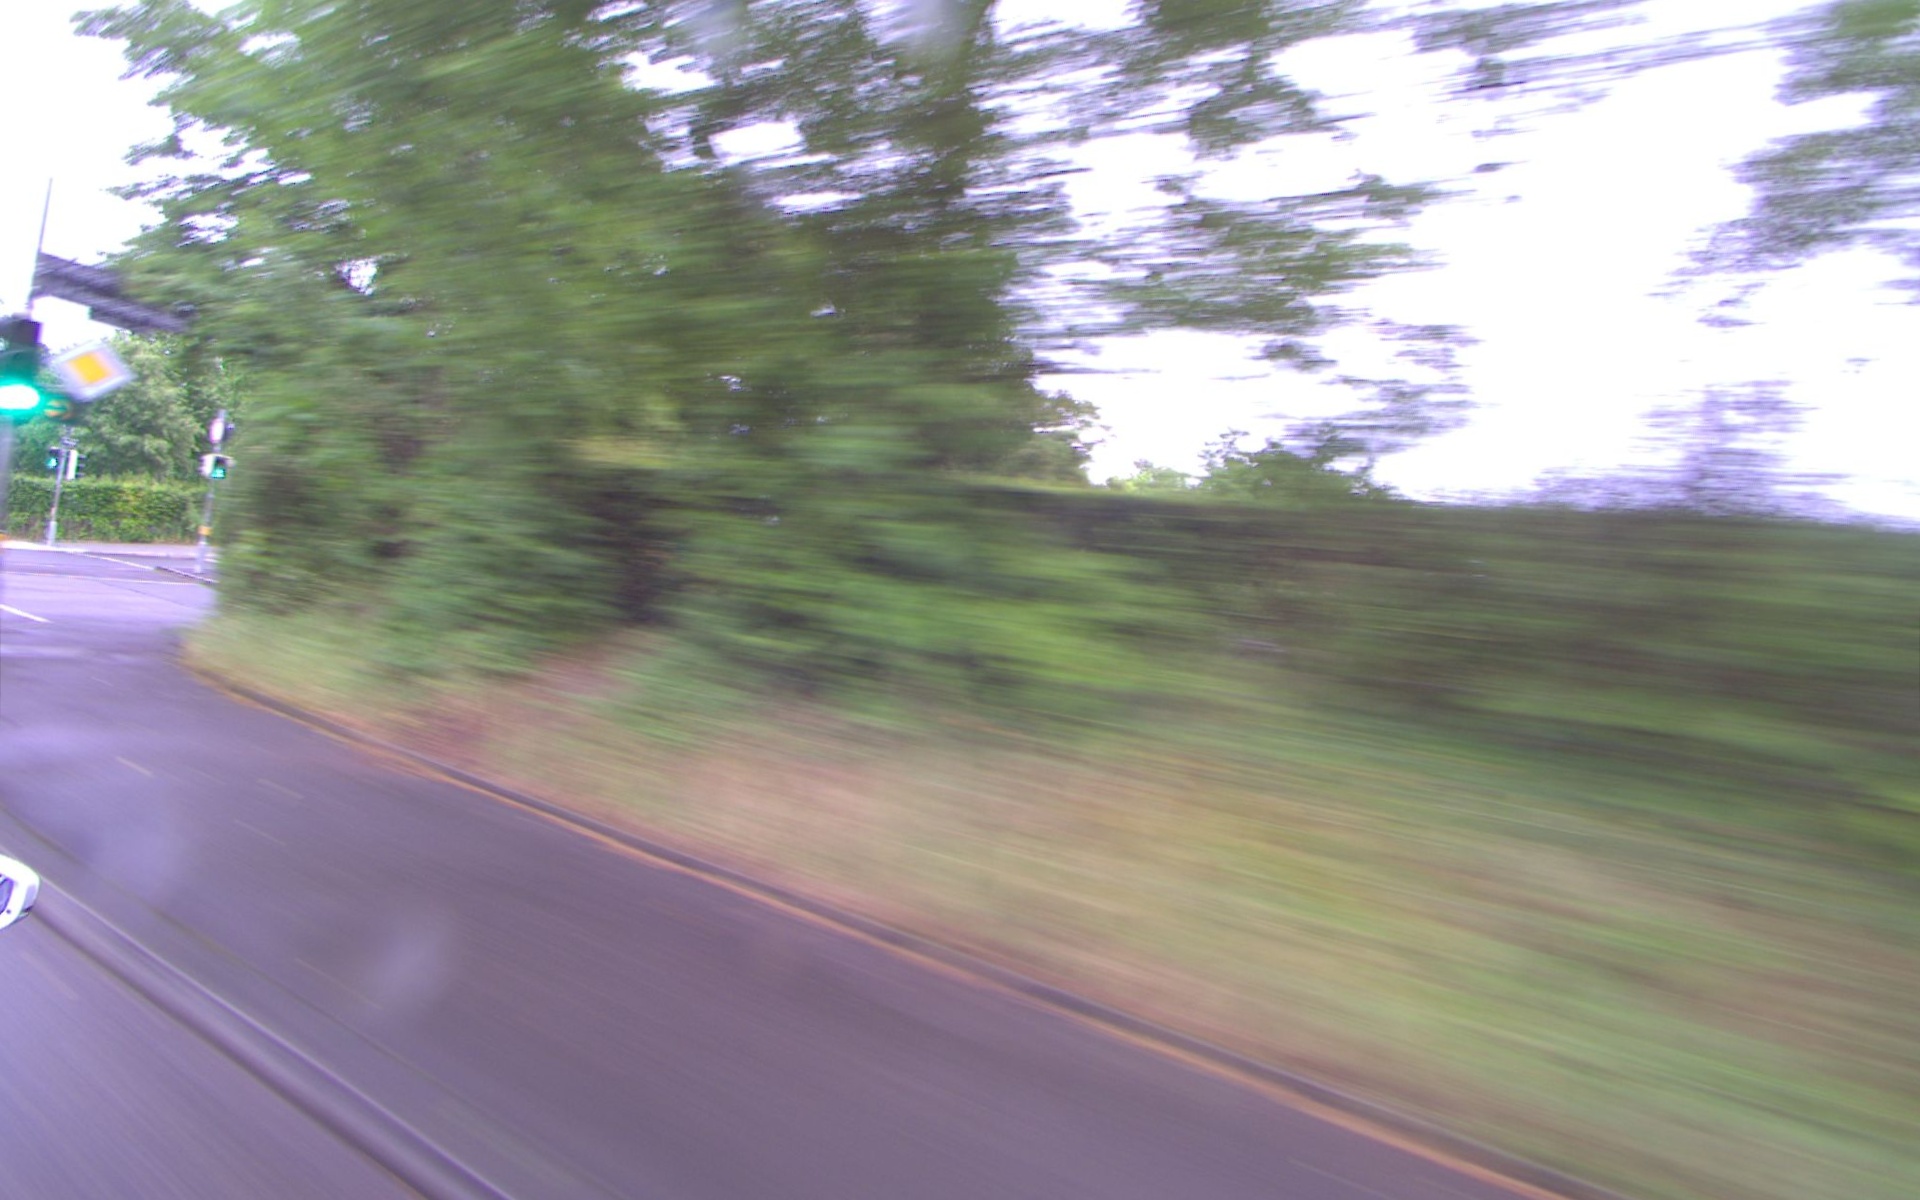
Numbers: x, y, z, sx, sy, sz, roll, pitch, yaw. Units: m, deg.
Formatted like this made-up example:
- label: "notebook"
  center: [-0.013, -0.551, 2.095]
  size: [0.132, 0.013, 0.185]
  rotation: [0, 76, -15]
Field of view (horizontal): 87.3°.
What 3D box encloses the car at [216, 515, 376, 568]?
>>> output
- label: "car"
  center: [-22.158, -1.917, 33.727]
  size: [1.857, 1.474, 4.075]
  rotation: [6, 4, 27]
